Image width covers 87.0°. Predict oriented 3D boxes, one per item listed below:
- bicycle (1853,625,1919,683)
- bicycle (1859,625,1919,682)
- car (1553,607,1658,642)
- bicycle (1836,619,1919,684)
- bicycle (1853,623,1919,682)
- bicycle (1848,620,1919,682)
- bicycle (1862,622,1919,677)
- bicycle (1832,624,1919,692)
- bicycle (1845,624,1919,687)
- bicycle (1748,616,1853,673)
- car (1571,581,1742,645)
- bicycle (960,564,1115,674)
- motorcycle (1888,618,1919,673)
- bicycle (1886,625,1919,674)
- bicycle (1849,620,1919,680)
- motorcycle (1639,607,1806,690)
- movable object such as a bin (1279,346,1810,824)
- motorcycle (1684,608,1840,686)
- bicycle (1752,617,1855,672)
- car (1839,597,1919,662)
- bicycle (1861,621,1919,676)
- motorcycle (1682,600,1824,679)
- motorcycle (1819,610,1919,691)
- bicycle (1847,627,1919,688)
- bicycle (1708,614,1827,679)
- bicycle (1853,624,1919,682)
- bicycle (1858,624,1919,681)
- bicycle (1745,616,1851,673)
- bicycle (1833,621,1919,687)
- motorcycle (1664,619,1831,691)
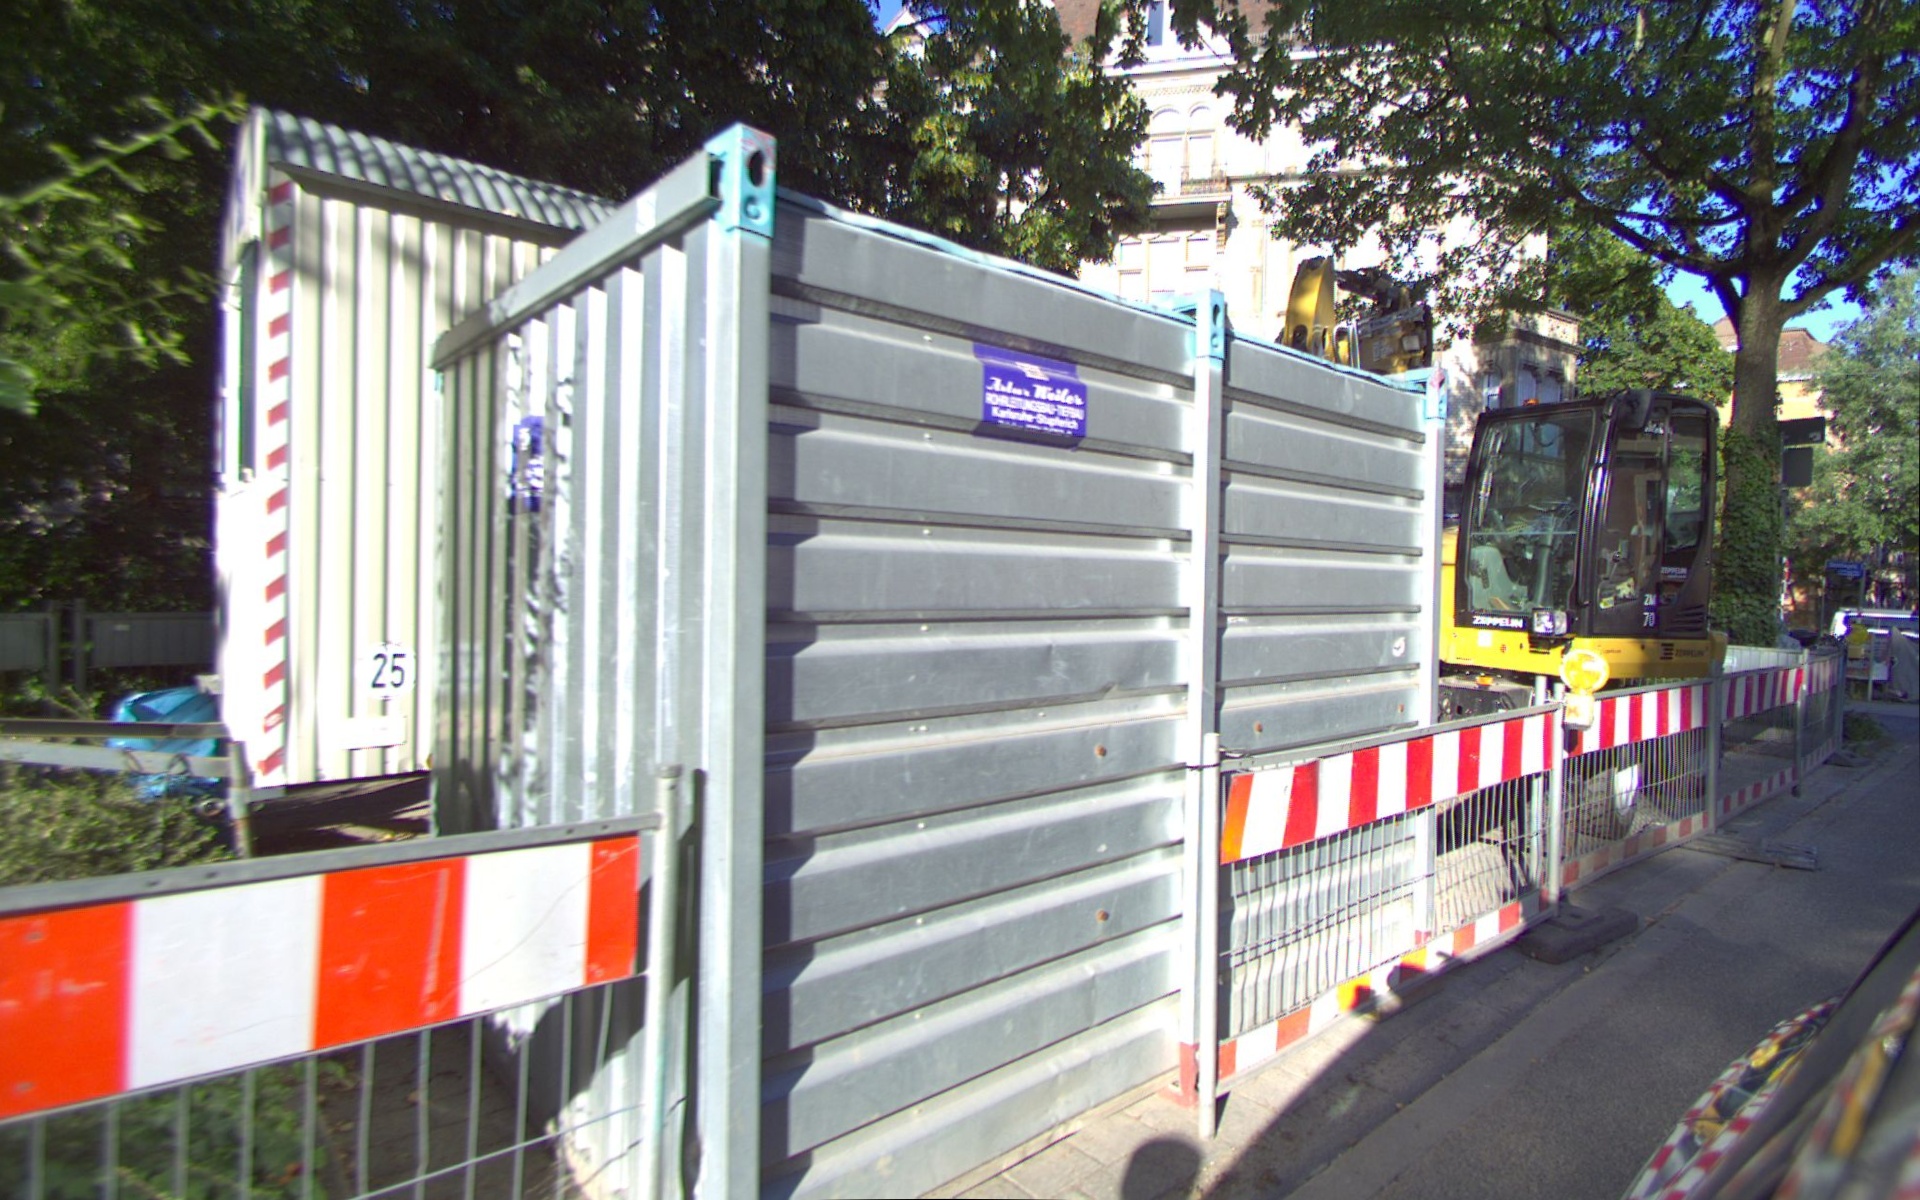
[{"bbox_3d":[21.281,1.217,22.656,1.924,1.262,0.298,1,0,44],"label":"bicycle"},{"bbox_3d":[22.214,1.252,23.535,1.924,1.262,0.298,1,0,44],"label":"bicycle"},{"bbox_3d":[31.866,1.207,50.041,1.832,1.529,4.058,2,0,-44],"label":"car"},{"bbox_3d":[19.191,1.055,20.676,1.924,1.262,0.298,1,0,44],"label":"bicycle"},{"bbox_3d":[21.495,1.196,22.897,1.924,1.262,0.298,1,0,44],"label":"bicycle"},{"bbox_3d":[20.147,1.091,21.496,1.906,1.262,0.298,1,0,44],"label":"bicycle"},{"bbox_3d":[22.788,1.179,24.088,1.924,1.262,0.638,1,0,44],"label":"bicycle"},{"bbox_3d":[18.507,1.144,19.988,1.924,1.262,0.298,1,0,44],"label":"bicycle"},{"bbox_3d":[19.900,1.165,21.277,1.924,1.262,0.298,1,0,44],"label":"bicycle"},{"bbox_3d":[20.433,1.062,24.622,1.924,1.262,0.472,1,0,44],"label":"bicycle"},{"bbox_3d":[30.593,0.511,44.616,5.895,2.569,2.342,2,0,44],"label":"car"},{"bbox_3d":[1.063,0.235,13.294,1.021,1.301,2.118,3,1,36],"label":"bicycle"},{"bbox_3d":[24.130,1.178,24.714,0.888,1.300,2.027,2,2,-42],"label":"motorcycle"},{"bbox_3d":[23.563,1.235,24.336,0.436,1.141,1.821,2,2,-41],"label":"bicycle"},{"bbox_3d":[20.784,1.099,22.190,1.924,1.262,0.298,1,0,44],"label":"bicycle"},{"bbox_3d":[13.786,0.833,18.345,2.361,1.358,0.927,1,0,40],"label":"motorcycle"},{"bbox_3d":[4.219,-0.079,7.385,3.047,2.733,2.003,1,0,-28],"label":"movable object such as a bin"},{"bbox_3d":[15.542,0.873,19.696,0.643,1.358,2.293,1,0,-29],"label":"motorcycle"},{"bbox_3d":[20.790,1.074,24.979,1.924,1.262,0.472,1,0,44],"label":"bicycle"},{"bbox_3d":[33.114,1.041,34.112,2.068,2.122,4.983,2,0,-40],"label":"car"},{"bbox_3d":[22.437,1.153,23.745,1.924,1.262,0.298,1,0,44],"label":"bicycle"},{"bbox_3d":[16.688,0.795,21.335,2.283,1.551,0.744,1,0,44],"label":"motorcycle"},{"bbox_3d":[17.684,0.939,19.183,0.921,1.430,1.942,1,0,-13],"label":"motorcycle"},{"bbox_3d":[20.394,1.239,21.787,1.924,1.262,0.298,1,0,44],"label":"bicycle"},{"bbox_3d":[17.081,0.964,21.444,1.924,1.262,0.472,1,0,44],"label":"bicycle"},{"bbox_3d":[21.720,1.217,23.141,1.924,1.262,0.298,1,0,44],"label":"bicycle"},{"bbox_3d":[21.988,1.212,23.304,1.924,1.262,0.298,1,0,44],"label":"bicycle"},{"bbox_3d":[20.044,1.049,24.242,1.924,1.262,0.472,1,0,44],"label":"bicycle"},{"bbox_3d":[18.726,1.077,20.223,1.924,1.262,0.298,1,0,44],"label":"bicycle"},{"bbox_3d":[14.814,0.995,19.113,0.951,1.195,2.293,1,0,-28],"label":"motorcycle"}]
